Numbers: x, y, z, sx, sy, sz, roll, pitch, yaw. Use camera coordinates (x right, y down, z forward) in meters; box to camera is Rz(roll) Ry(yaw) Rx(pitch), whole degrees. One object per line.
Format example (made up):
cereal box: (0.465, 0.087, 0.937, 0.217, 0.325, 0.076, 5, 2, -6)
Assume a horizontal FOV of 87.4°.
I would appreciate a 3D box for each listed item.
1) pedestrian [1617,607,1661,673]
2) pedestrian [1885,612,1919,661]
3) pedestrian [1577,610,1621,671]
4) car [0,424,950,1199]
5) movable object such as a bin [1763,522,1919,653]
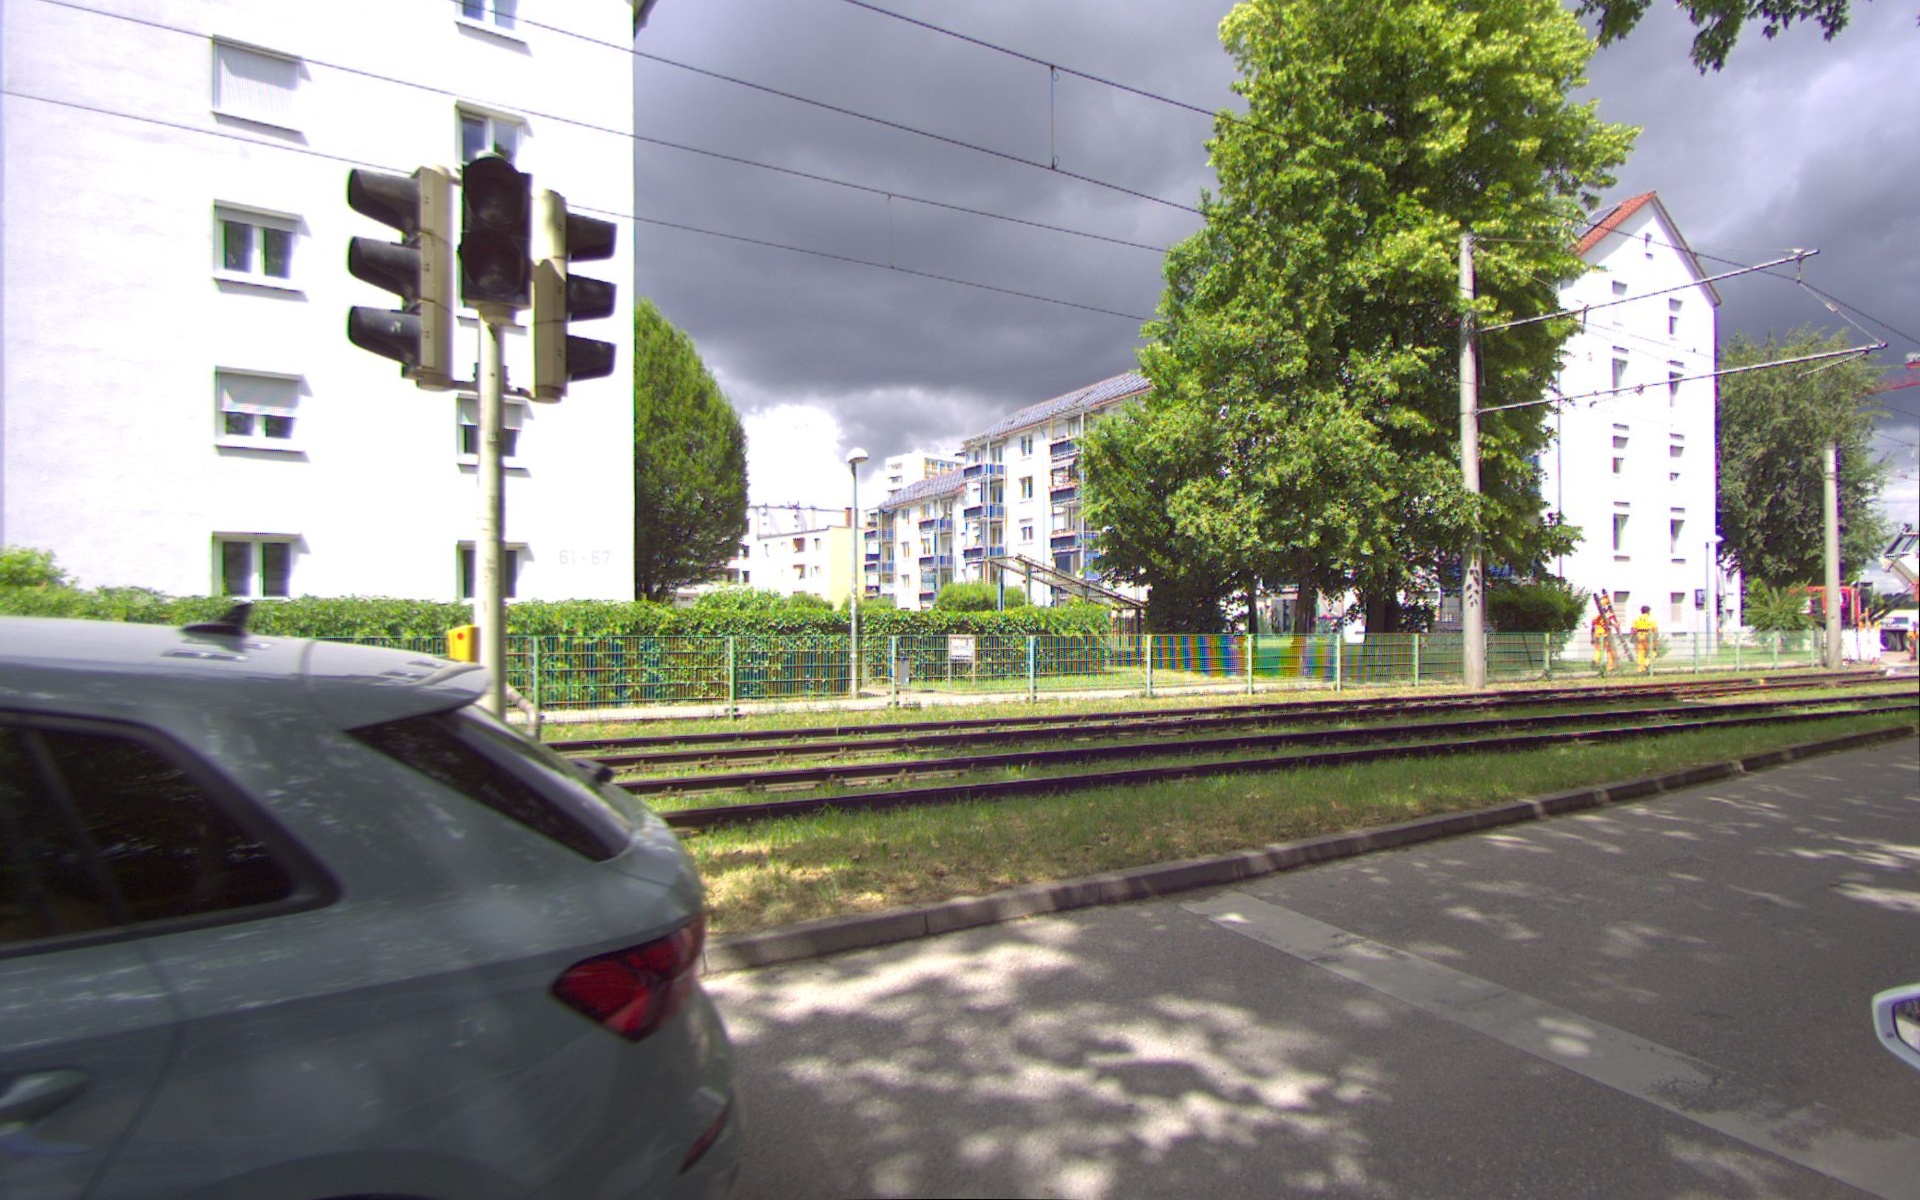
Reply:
pedestrian: (18.452, 1.082, 27.294, 0.857, 1.741, 0.696, 2, -1, -31)
pedestrian: (33.266, 1.276, 35.207, 0.870, 1.667, 0.837, 1, -1, 4)
pedestrian: (17.684, 1.124, 27.803, 0.857, 1.647, 0.728, 2, -1, -31)
car: (-2.051, 0.534, 1.298, 3.810, 1.454, 1.626, 2, -1, -33)
movable object such as a bin: (41.455, -0.448, 45.278, 2.613, 5.486, 9.227, 1, -1, -4)
